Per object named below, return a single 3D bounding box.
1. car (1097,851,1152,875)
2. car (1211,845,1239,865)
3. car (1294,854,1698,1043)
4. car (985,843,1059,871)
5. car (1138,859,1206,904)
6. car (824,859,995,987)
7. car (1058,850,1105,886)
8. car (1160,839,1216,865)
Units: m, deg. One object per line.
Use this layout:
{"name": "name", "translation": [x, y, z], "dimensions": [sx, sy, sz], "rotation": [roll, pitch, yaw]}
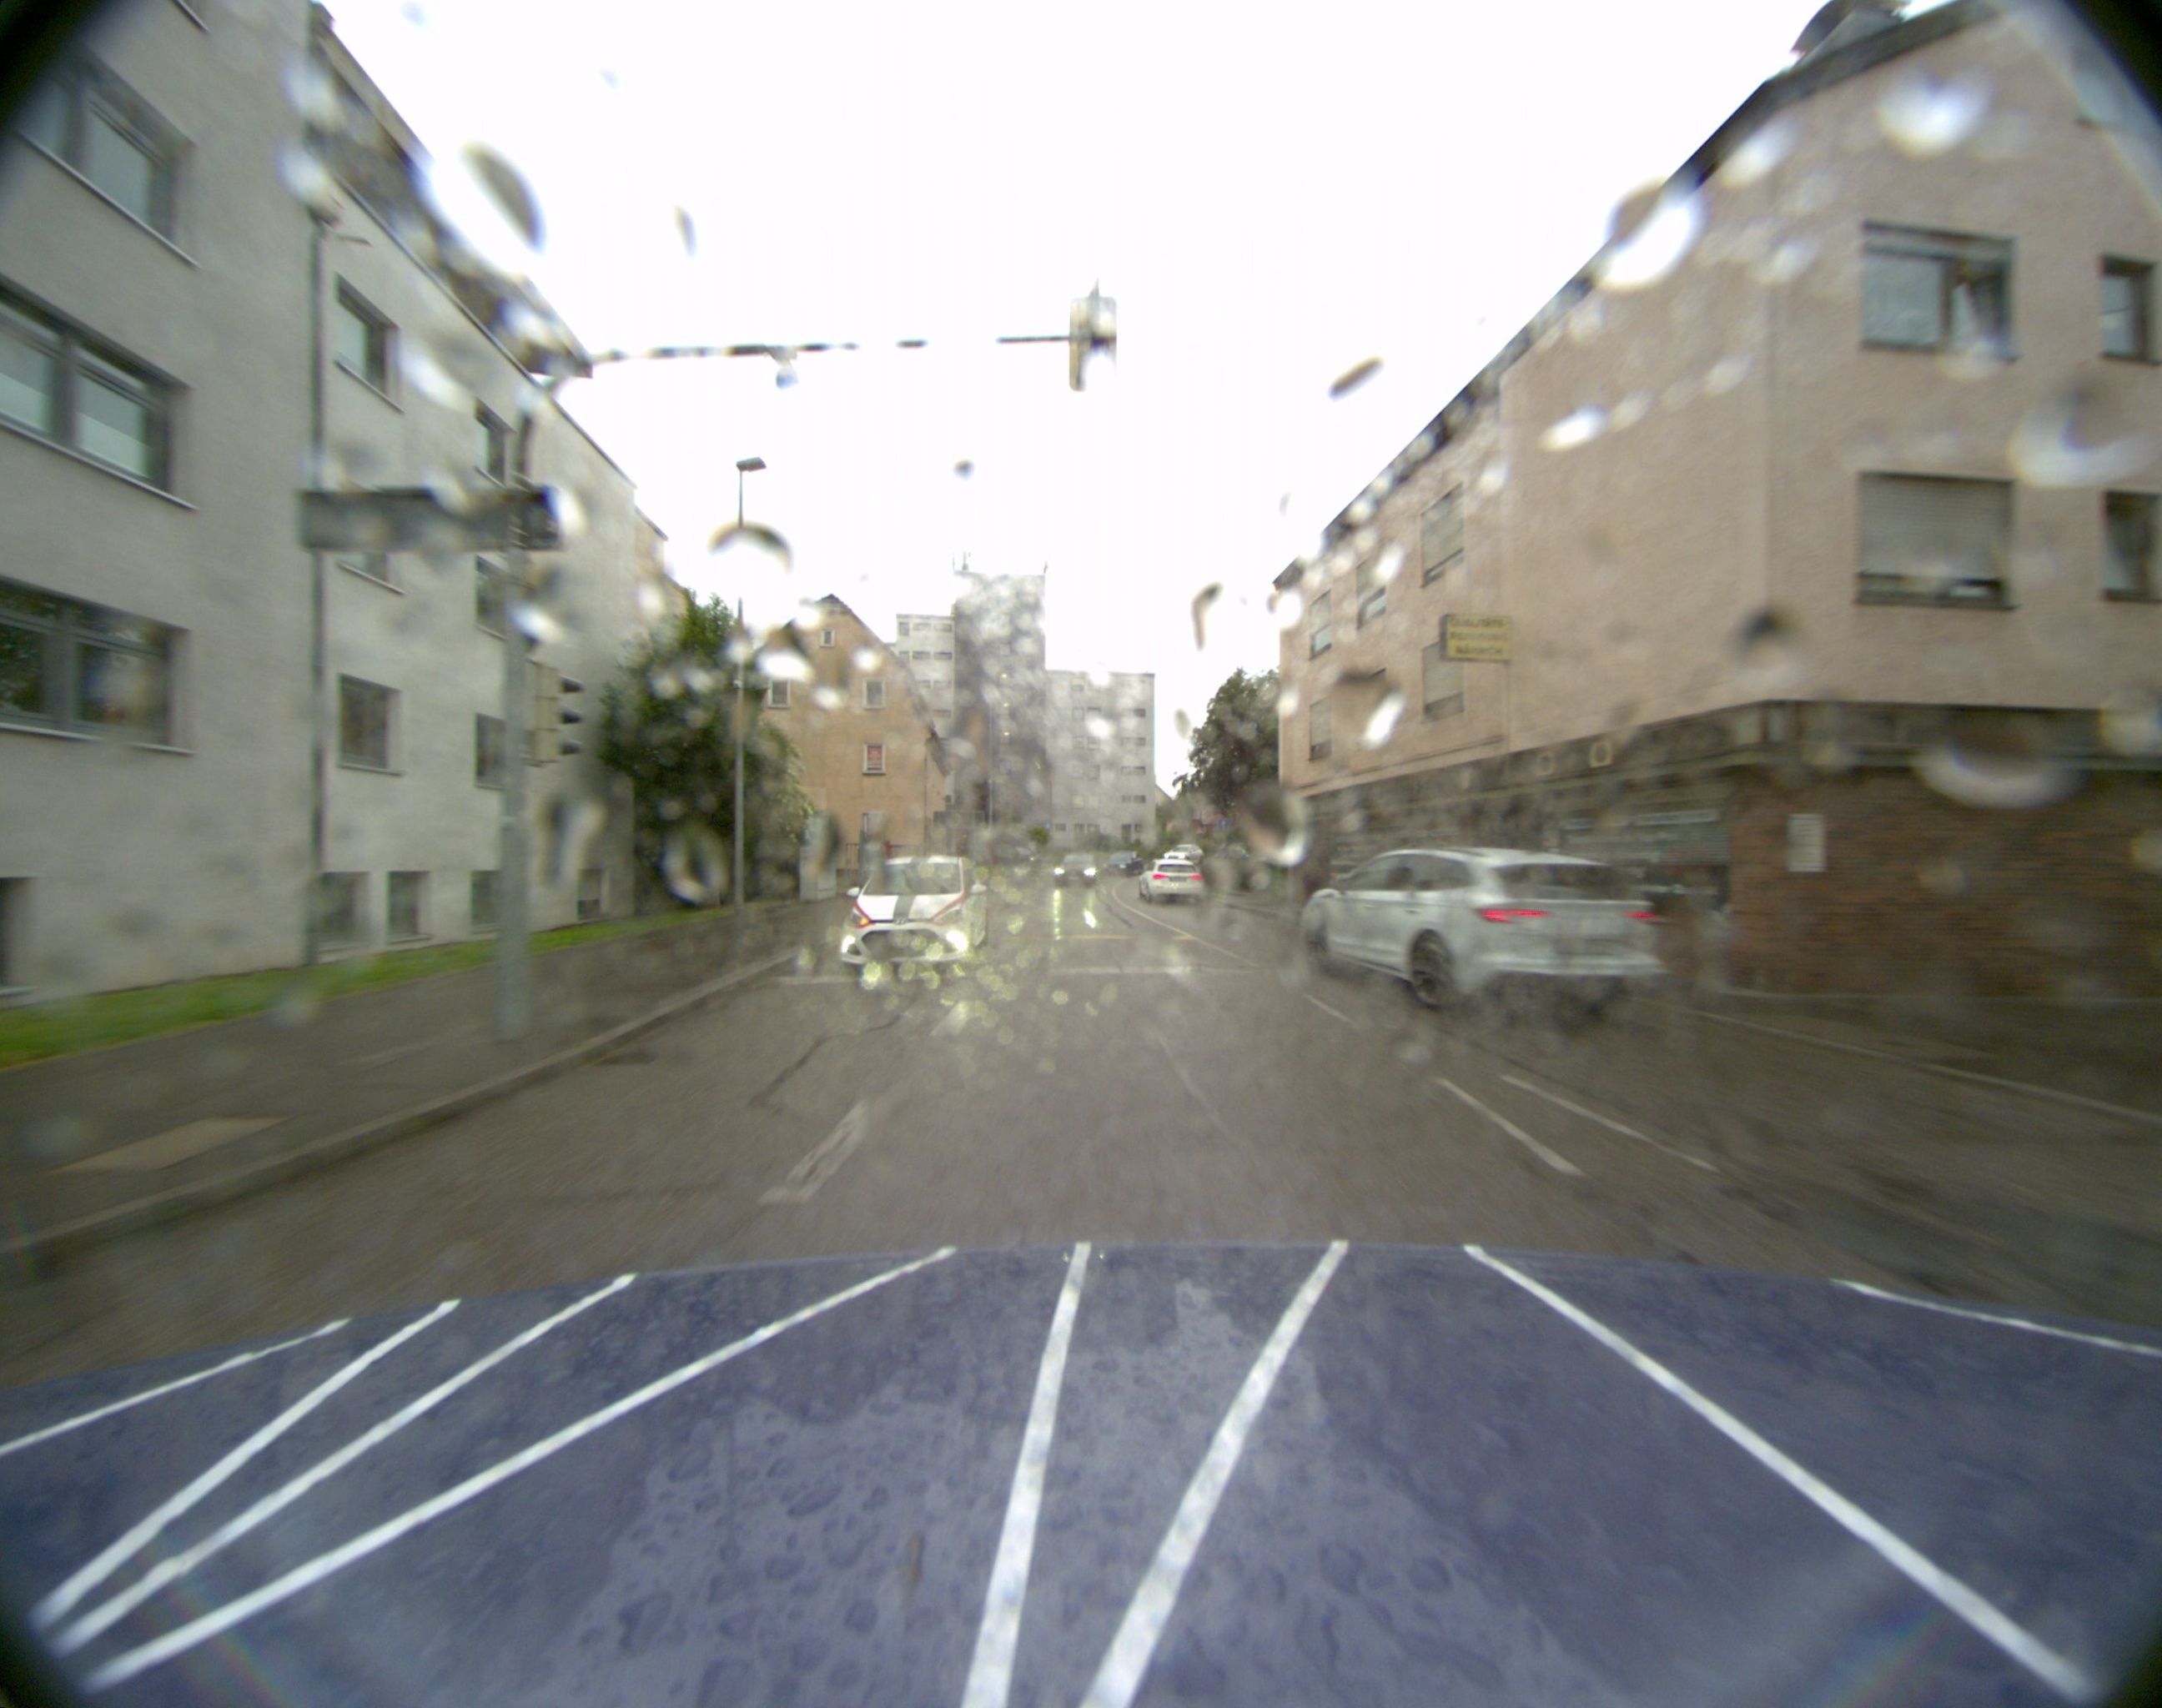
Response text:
{"name": "car", "translation": [2.762, 0.521, 46.887], "dimensions": [1.787, 1.339, 4.952], "rotation": [-1, 1, 22]}
{"name": "car", "translation": [10.637, 0.071, 56.049], "dimensions": [1.773, 1.394, 3.923], "rotation": [1, 1, 13]}
{"name": "car", "translation": [4.094, 0.807, 8.493], "dimensions": [1.790, 1.551, 4.334], "rotation": [0, -1, -7]}
{"name": "car", "translation": [-3.819, 0.140, 48.903], "dimensions": [4.408, 1.564, 1.721], "rotation": [2, 3, 21]}
{"name": "car", "translation": [3.007, 0.885, 25.866], "dimensions": [1.695, 1.364, 4.113], "rotation": [1, -1, -1]}
{"name": "car", "translation": [-2.295, 0.857, 11.134], "dimensions": [1.711, 1.445, 3.762], "rotation": [-1, 1, -1]}
{"name": "car", "translation": [0.077, 0.609, 36.079], "dimensions": [1.837, 1.505, 4.849], "rotation": [-1, 1, 4]}
{"name": "car", "translation": [8.325, -0.144, 58.631], "dimensions": [1.896, 1.648, 4.958], "rotation": [1, -3, 39]}
